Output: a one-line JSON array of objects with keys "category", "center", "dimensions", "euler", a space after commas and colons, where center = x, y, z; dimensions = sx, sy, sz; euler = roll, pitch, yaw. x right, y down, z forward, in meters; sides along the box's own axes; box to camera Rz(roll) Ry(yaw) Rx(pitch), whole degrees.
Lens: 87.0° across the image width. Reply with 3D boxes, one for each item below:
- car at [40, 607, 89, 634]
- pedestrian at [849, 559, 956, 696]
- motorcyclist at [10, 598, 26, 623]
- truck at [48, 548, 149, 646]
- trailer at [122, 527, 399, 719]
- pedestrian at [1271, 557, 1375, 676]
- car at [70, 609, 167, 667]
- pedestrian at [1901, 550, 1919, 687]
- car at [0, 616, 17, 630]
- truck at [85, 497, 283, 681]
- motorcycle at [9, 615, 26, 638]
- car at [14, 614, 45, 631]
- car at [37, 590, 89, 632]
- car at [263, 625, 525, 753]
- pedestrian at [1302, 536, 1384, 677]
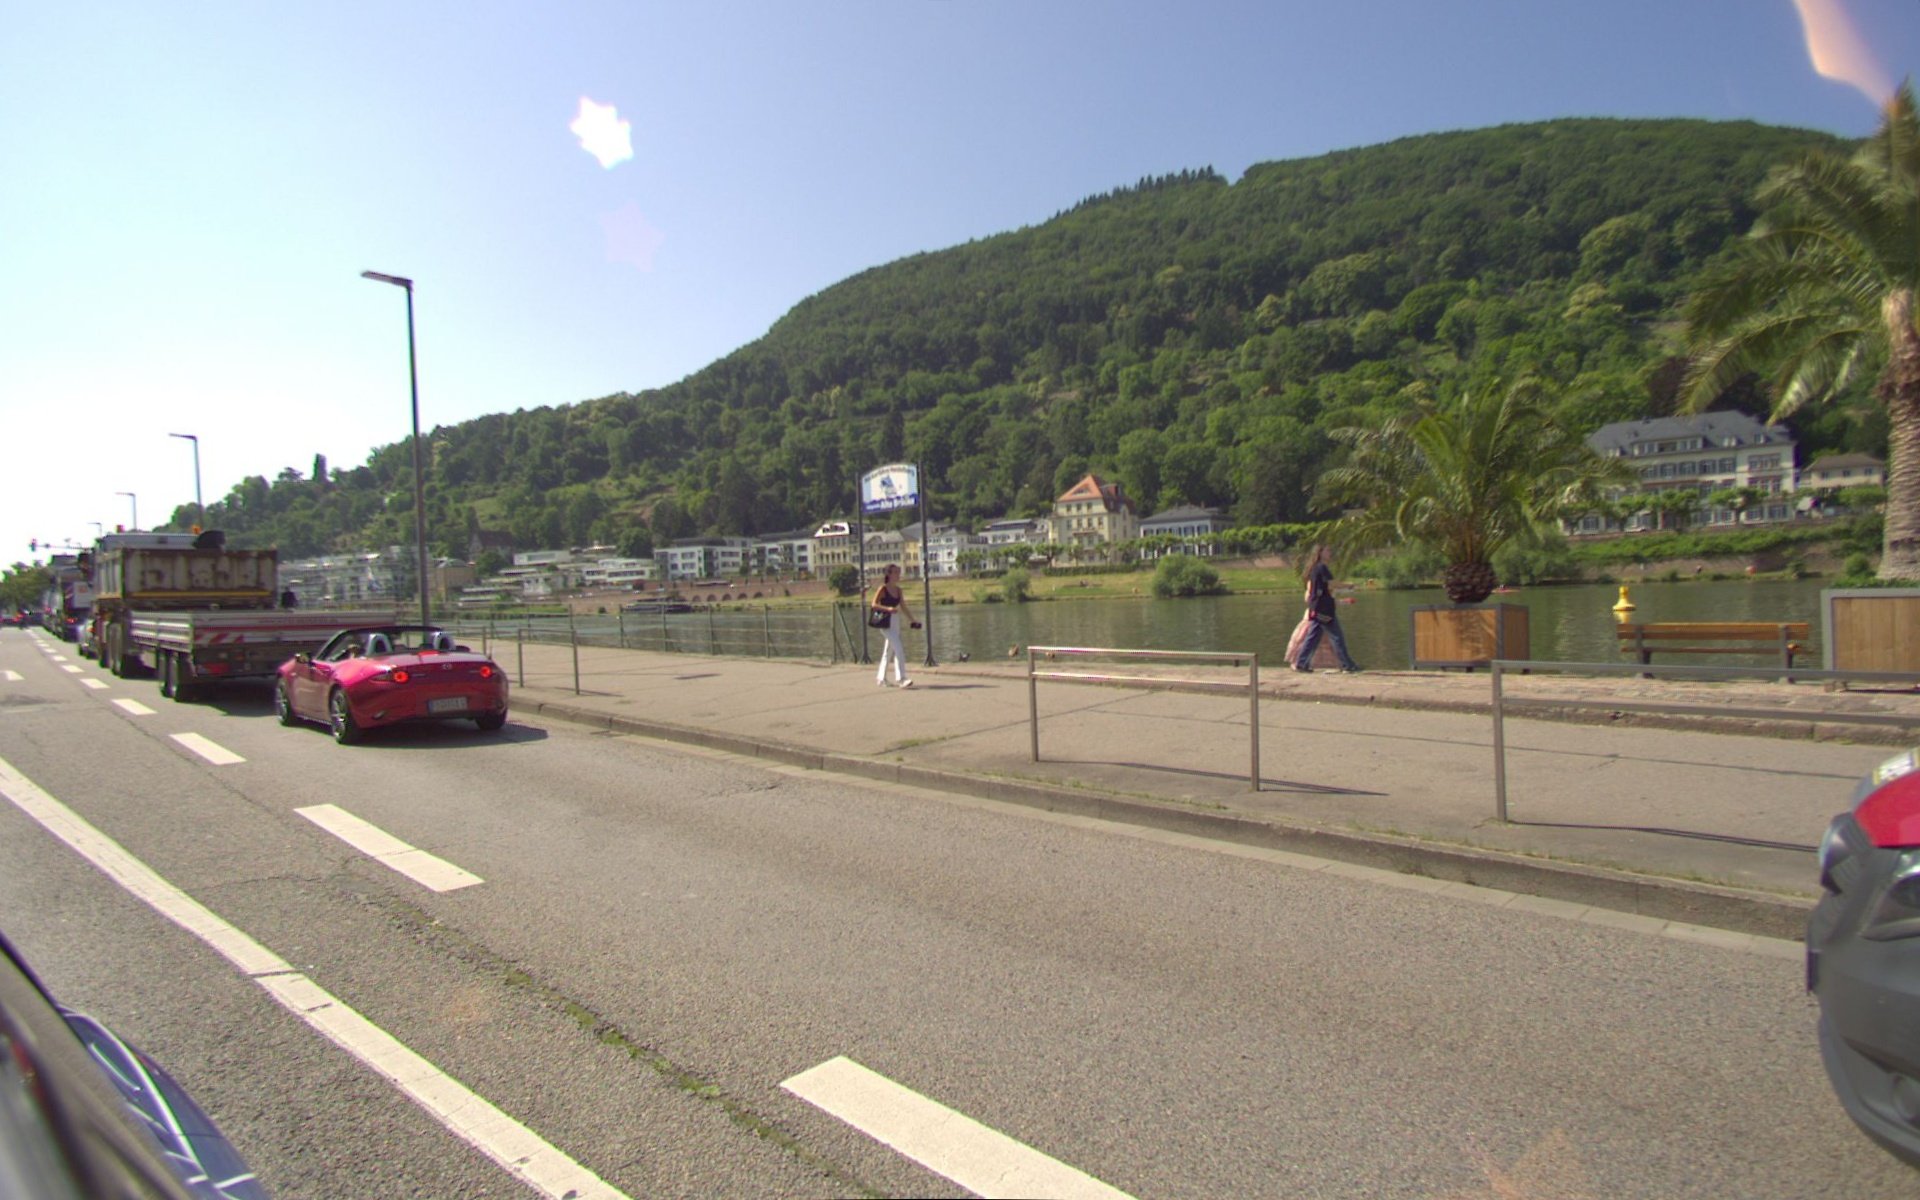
[{"category": "car", "center": [-51.229, 1.159, 57.876], "dimensions": [1.970, 1.429, 4.925], "euler": [-1, 0, -43]}, {"category": "pedestrian", "center": [-0.766, 0.340, 13.398], "dimensions": [1.151, 1.713, 0.807], "euler": [-1, 1, 43]}, {"category": "motorcyclist", "center": [-59.303, 0.676, 63.697], "dimensions": [0.693, 1.538, 0.862], "euler": [-1, 0, -42]}, {"category": "truck", "center": [-35.391, -0.070, 41.385], "dimensions": [2.611, 3.502, 11.118], "euler": [-1, 0, -43]}, {"category": "trailer", "center": [-11.887, 0.304, 16.899], "dimensions": [2.666, 2.550, 6.952], "euler": [0, 0, -44]}, {"category": "pedestrian", "center": [4.954, 0.230, 13.821], "dimensions": [1.116, 1.545, 0.785], "euler": [-1, -3, 43]}, {"category": "car", "center": [-23.676, 1.004, 28.426], "dimensions": [1.757, 1.454, 4.000], "euler": [-1, 1, -44]}, {"category": "pedestrian", "center": [11.573, 0.214, 11.772], "dimensions": [0.588, 1.613, 0.678], "euler": [-2, 0, 8]}, {"category": "car", "center": [-97.817, 2.351, 103.291], "dimensions": [3.890, 1.447, 1.883], "euler": [-1, 1, 41]}, {"category": "truck", "center": [-17.733, -0.187, 22.877], "dimensions": [2.611, 3.483, 7.876], "euler": [1, -1, -44]}, {"category": "motorcycle", "center": [-58.964, 1.647, 63.314], "dimensions": [0.717, 1.397, 2.514], "euler": [-1, 0, -42]}, {"category": "car", "center": [-85.413, 2.069, 92.875], "dimensions": [1.970, 1.463, 4.264], "euler": [-3, 1, -44]}, {"category": "car", "center": [-56.616, 0.737, 63.863], "dimensions": [2.169, 2.545, 4.752], "euler": [2, -2, -44]}, {"category": "car", "center": [-6.673, 0.917, 11.788], "dimensions": [3.629, 1.203, 1.653], "euler": [-1, -1, 43]}, {"category": "pedestrian", "center": [4.807, 0.083, 12.759], "dimensions": [0.838, 1.704, 0.792], "euler": [-2, 0, 15]}]
